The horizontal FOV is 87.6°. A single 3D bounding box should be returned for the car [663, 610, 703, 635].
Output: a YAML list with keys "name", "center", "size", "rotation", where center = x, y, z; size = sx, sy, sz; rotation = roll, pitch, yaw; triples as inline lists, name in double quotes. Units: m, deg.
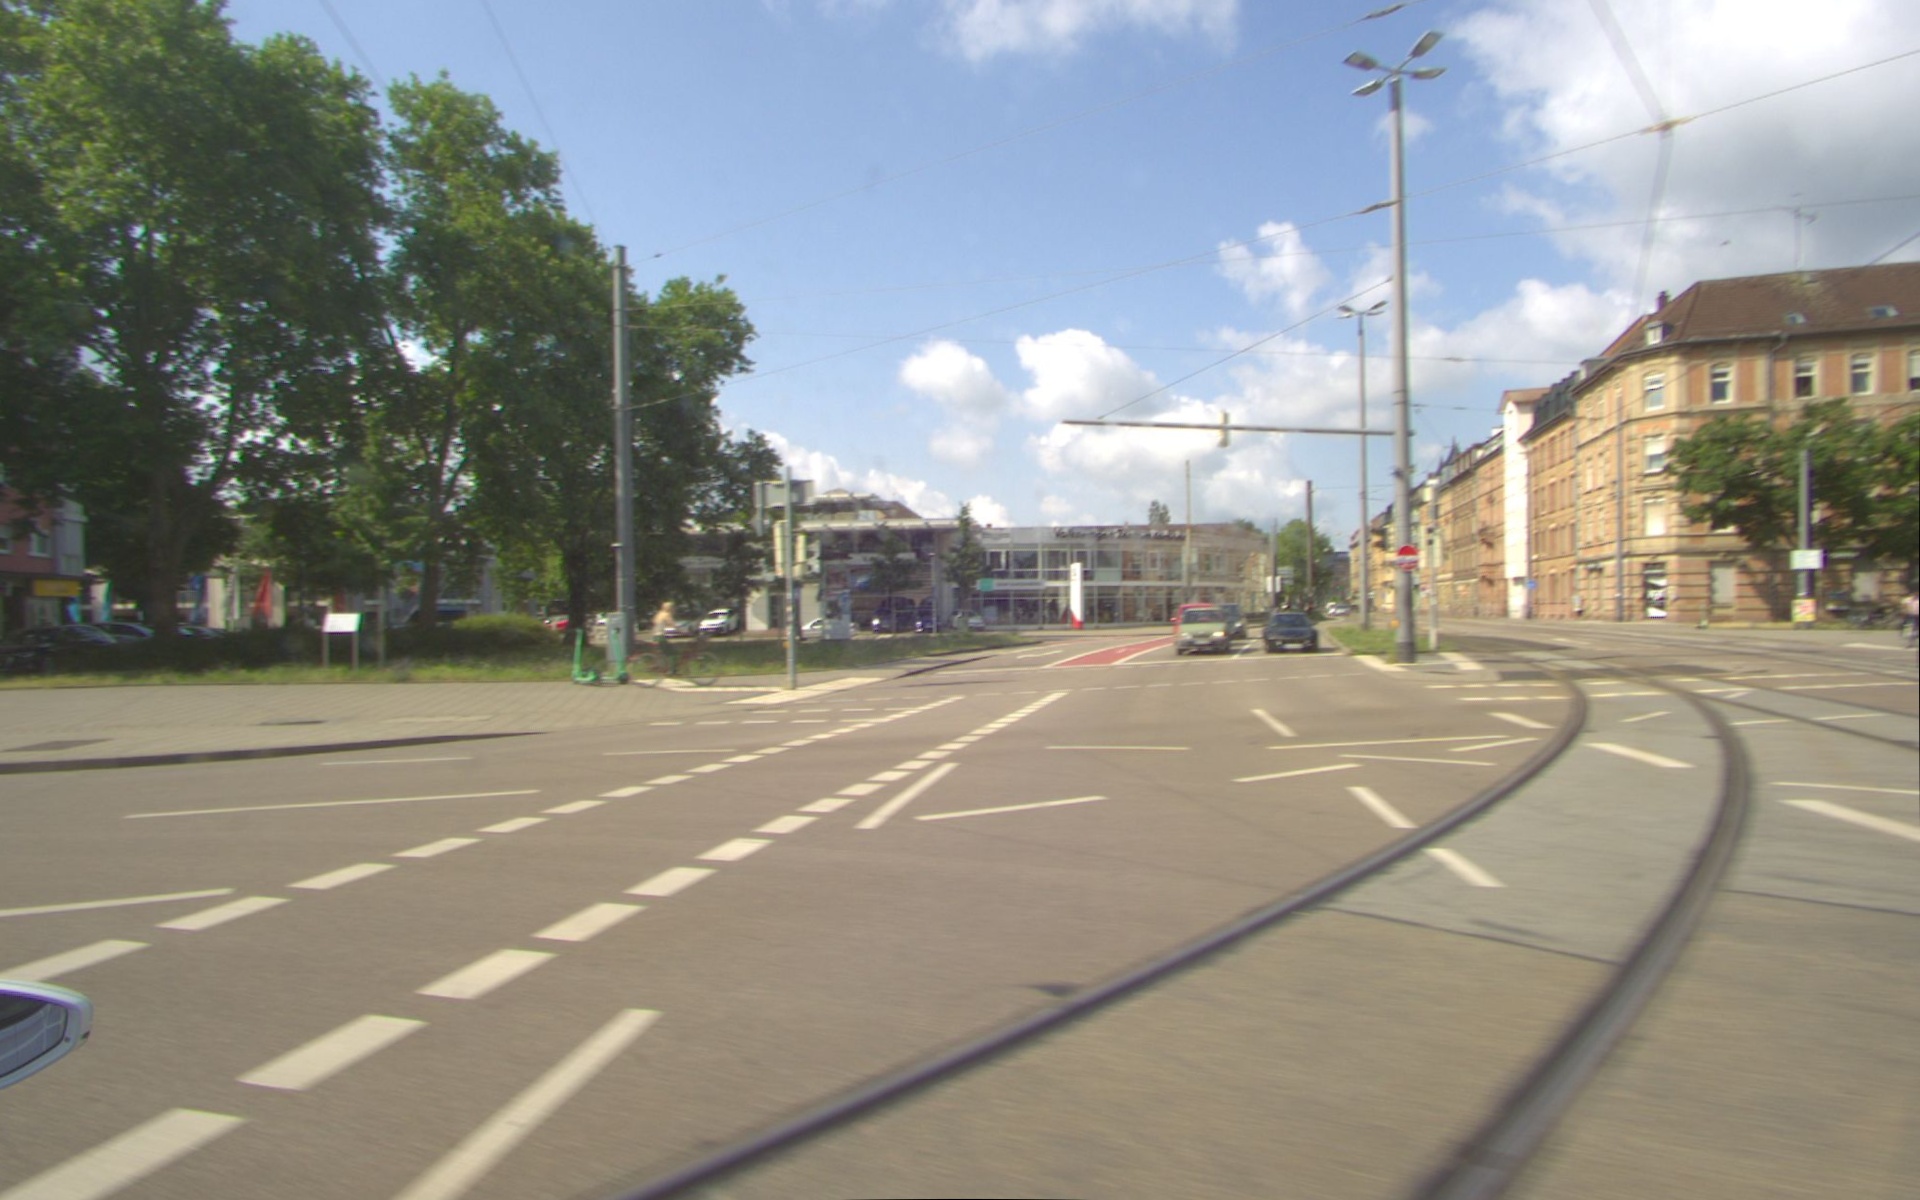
- name: "car"
  center: [-19.244, 1.603, 69.728]
  size: [1.961, 1.594, 4.001]
  rotation: [-2, -2, -6]

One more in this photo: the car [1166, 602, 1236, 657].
- name: "car"
  center: [7.588, 0.909, 31.284]
  size: [1.794, 1.532, 3.994]
  rotation: [-3, -2, 18]

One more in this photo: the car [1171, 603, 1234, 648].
- name: "car"
  center: [9.136, 0.953, 37.470]
  size: [1.965, 1.538, 3.994]
  rotation: [-3, -2, 18]

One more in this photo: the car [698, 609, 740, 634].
- name: "car"
  center: [-16.732, 1.499, 69.618]
  size: [2.034, 1.625, 4.000]
  rotation: [-2, 0, -2]

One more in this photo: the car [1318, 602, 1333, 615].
- name: "car"
  center: [49.423, 1.153, 135.450]
  size: [1.754, 1.728, 3.994]
  rotation: [0, 0, 17]

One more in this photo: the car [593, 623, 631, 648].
- name: "car"
  center: [-24.141, 2.435, 69.513]
  size: [1.654, 1.616, 4.000]
  rotation: [-2, -2, -7]

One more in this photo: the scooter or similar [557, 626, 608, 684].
- name: "scooter or similar"
  center: [-7.923, 1.144, 21.046]
  size: [0.920, 1.173, 0.378]
  rotation: [1, 0, -42]

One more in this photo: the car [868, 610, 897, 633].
- name: "car"
  center: [-5.280, 1.469, 68.454]
  size: [1.888, 1.463, 4.001]
  rotation: [-1, -1, -4]

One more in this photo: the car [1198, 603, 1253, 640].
- name: "car"
  center: [11.869, 0.919, 44.651]
  size: [1.965, 1.572, 3.991]
  rotation: [0, 0, 21]

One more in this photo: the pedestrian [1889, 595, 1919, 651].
- name: "pedestrian"
  center: [28.875, 0.689, 30.433]
  size: [0.783, 1.664, 0.706]
  rotation: [-1, 0, -23]

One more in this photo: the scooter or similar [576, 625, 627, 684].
- name: "scooter or similar"
  center: [-7.425, 1.113, 20.747]
  size: [0.376, 1.173, 0.923]
  rotation: [2, 0, 36]

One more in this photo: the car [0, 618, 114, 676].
- name: "car"
  center: [-26.330, 1.291, 28.468]
  size: [1.764, 1.438, 3.995]
  rotation: [2, -1, -12]

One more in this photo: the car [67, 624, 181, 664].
- name: "car"
  center: [-37.975, 2.003, 45.566]
  size: [3.552, 1.614, 1.665]
  rotation: [-2, -1, -12]

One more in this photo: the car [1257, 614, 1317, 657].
- name: "car"
  center: [9.996, 1.052, 30.666]
  size: [1.598, 1.176, 3.994]
  rotation: [-3, -2, 18]

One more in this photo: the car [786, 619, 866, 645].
- name: "car"
  center: [-8.115, 1.976, 60.986]
  size: [4.462, 1.371, 2.000]
  rotation: [-3, -2, 6]

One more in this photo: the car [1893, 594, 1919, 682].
- name: "car"
  center: [17.652, 0.608, 15.975]
  size: [1.738, 1.548, 4.256]
  rotation: [-2, -1, 5]

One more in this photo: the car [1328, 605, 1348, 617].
- name: "car"
  center: [45.672, 1.317, 120.922]
  size: [1.964, 1.349, 3.994]
  rotation: [0, 0, 16]

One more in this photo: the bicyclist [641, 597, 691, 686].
- name: "bicyclist"
  center: [-6.008, 0.845, 20.456]
  size: [0.815, 1.767, 0.709]
  rotation: [-2, -1, -27]

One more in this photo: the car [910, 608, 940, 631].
- name: "car"
  center: [-2.404, 1.328, 67.738]
  size: [1.888, 1.463, 4.001]
  rotation: [-1, -1, -3]

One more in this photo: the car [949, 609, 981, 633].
- name: "car"
  center: [0.313, 1.447, 69.590]
  size: [1.888, 1.572, 4.001]
  rotation: [-1, -1, -3]

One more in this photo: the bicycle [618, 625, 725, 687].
- name: "bicycle"
  center: [-5.911, 1.137, 20.533]
  size: [1.961, 1.142, 0.787]
  rotation: [-2, -1, -26]

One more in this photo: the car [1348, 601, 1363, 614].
- name: "car"
  center: [64.068, 1.268, 162.313]
  size: [1.964, 2.040, 3.993]
  rotation: [0, 0, 18]
